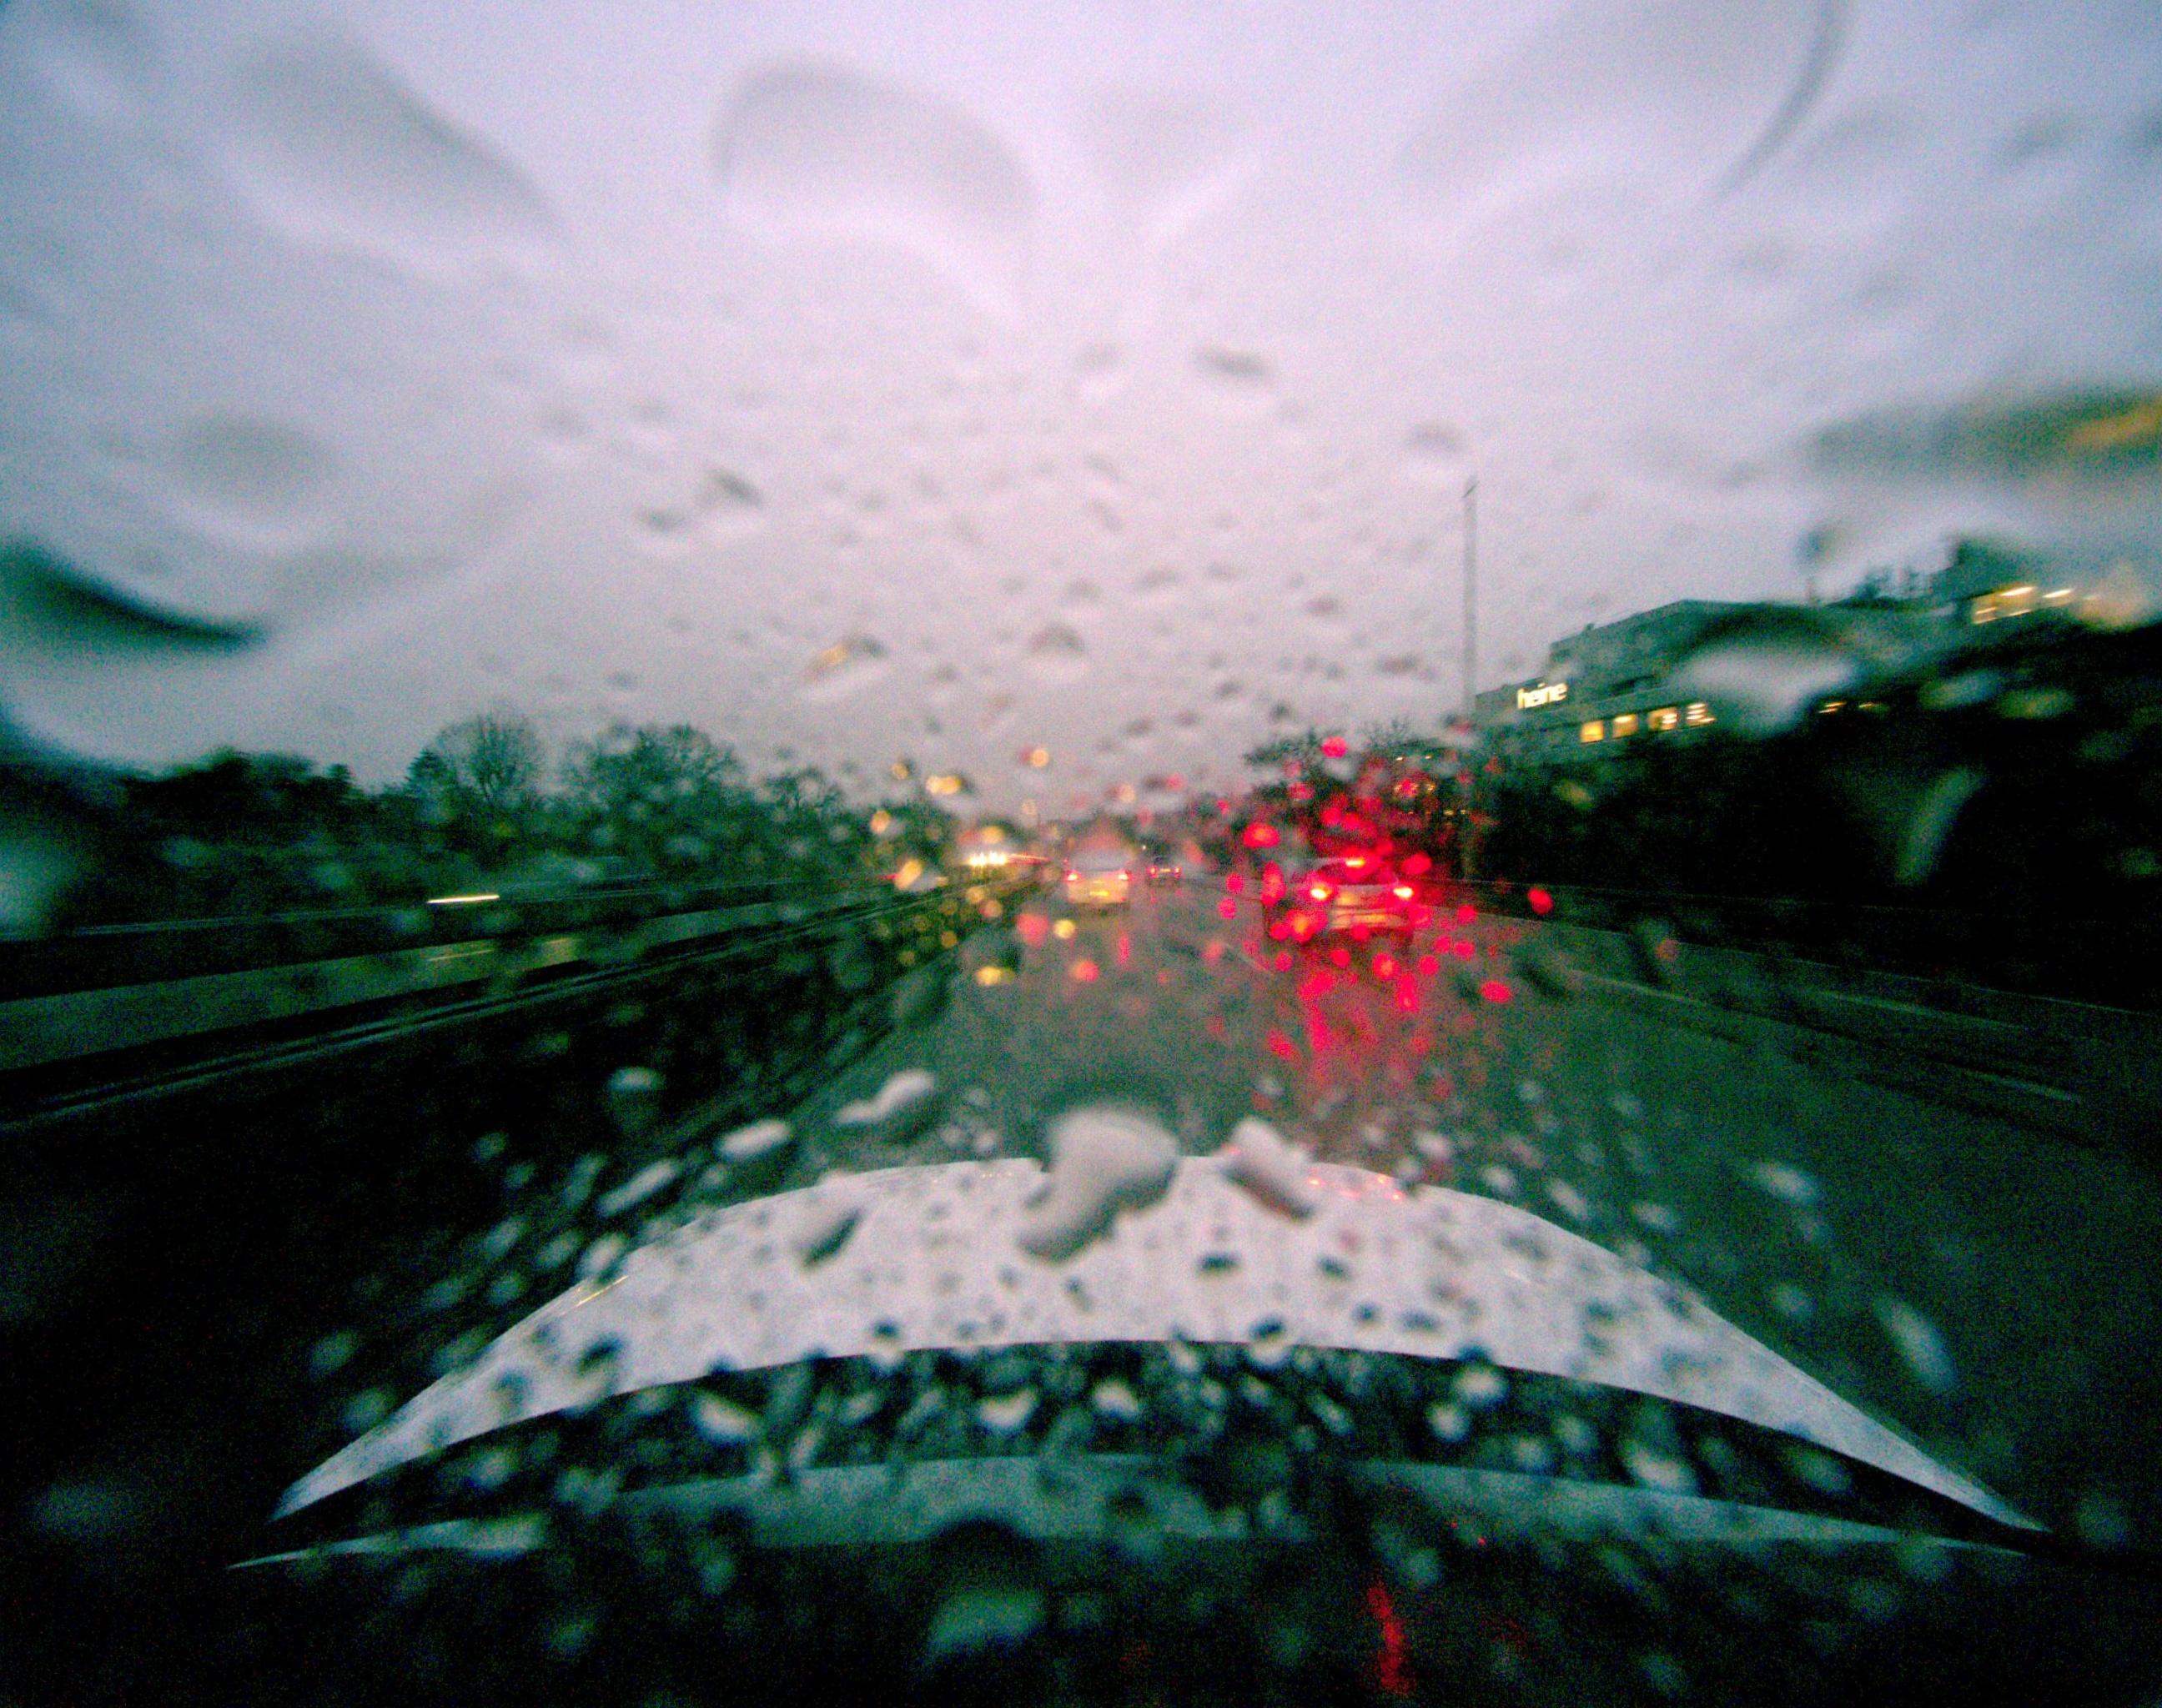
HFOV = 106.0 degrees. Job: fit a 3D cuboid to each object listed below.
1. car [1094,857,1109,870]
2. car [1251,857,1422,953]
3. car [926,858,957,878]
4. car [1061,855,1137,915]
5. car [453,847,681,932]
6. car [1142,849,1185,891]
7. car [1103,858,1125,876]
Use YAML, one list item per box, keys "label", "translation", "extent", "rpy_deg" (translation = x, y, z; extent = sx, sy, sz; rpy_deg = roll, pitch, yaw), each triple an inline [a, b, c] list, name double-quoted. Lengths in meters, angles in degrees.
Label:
- label: "car"
  translation: [2.714, 1.237, 107.211]
  extent: [1.926, 1.546, 3.773]
  rpy_deg: [0, 0, 0]
- label: "car"
  translation: [4.451, 0.813, 14.897]
  extent: [1.843, 1.501, 4.263]
  rpy_deg: [0, 0, 1]
- label: "car"
  translation: [-10.542, 1.044, 61.616]
  extent: [1.691, 1.441, 3.681]
  rpy_deg: [0, 0, 0]
- label: "car"
  translation: [0.472, 0.842, 23.797]
  extent: [2.019, 1.575, 3.998]
  rpy_deg: [0, 0, -1]
- label: "car"
  translation: [-10.994, 0.693, 17.940]
  extent: [1.859, 1.627, 4.781]
  rpy_deg: [0, 0, 2]
- label: "car"
  translation: [4.191, 0.787, 41.776]
  extent: [1.925, 2.019, 3.775]
  rpy_deg: [0, 0, 2]
- label: "car"
  translation: [3.354, 1.335, 83.963]
  extent: [1.927, 1.546, 3.772]
  rpy_deg: [-6, -1, -1]
